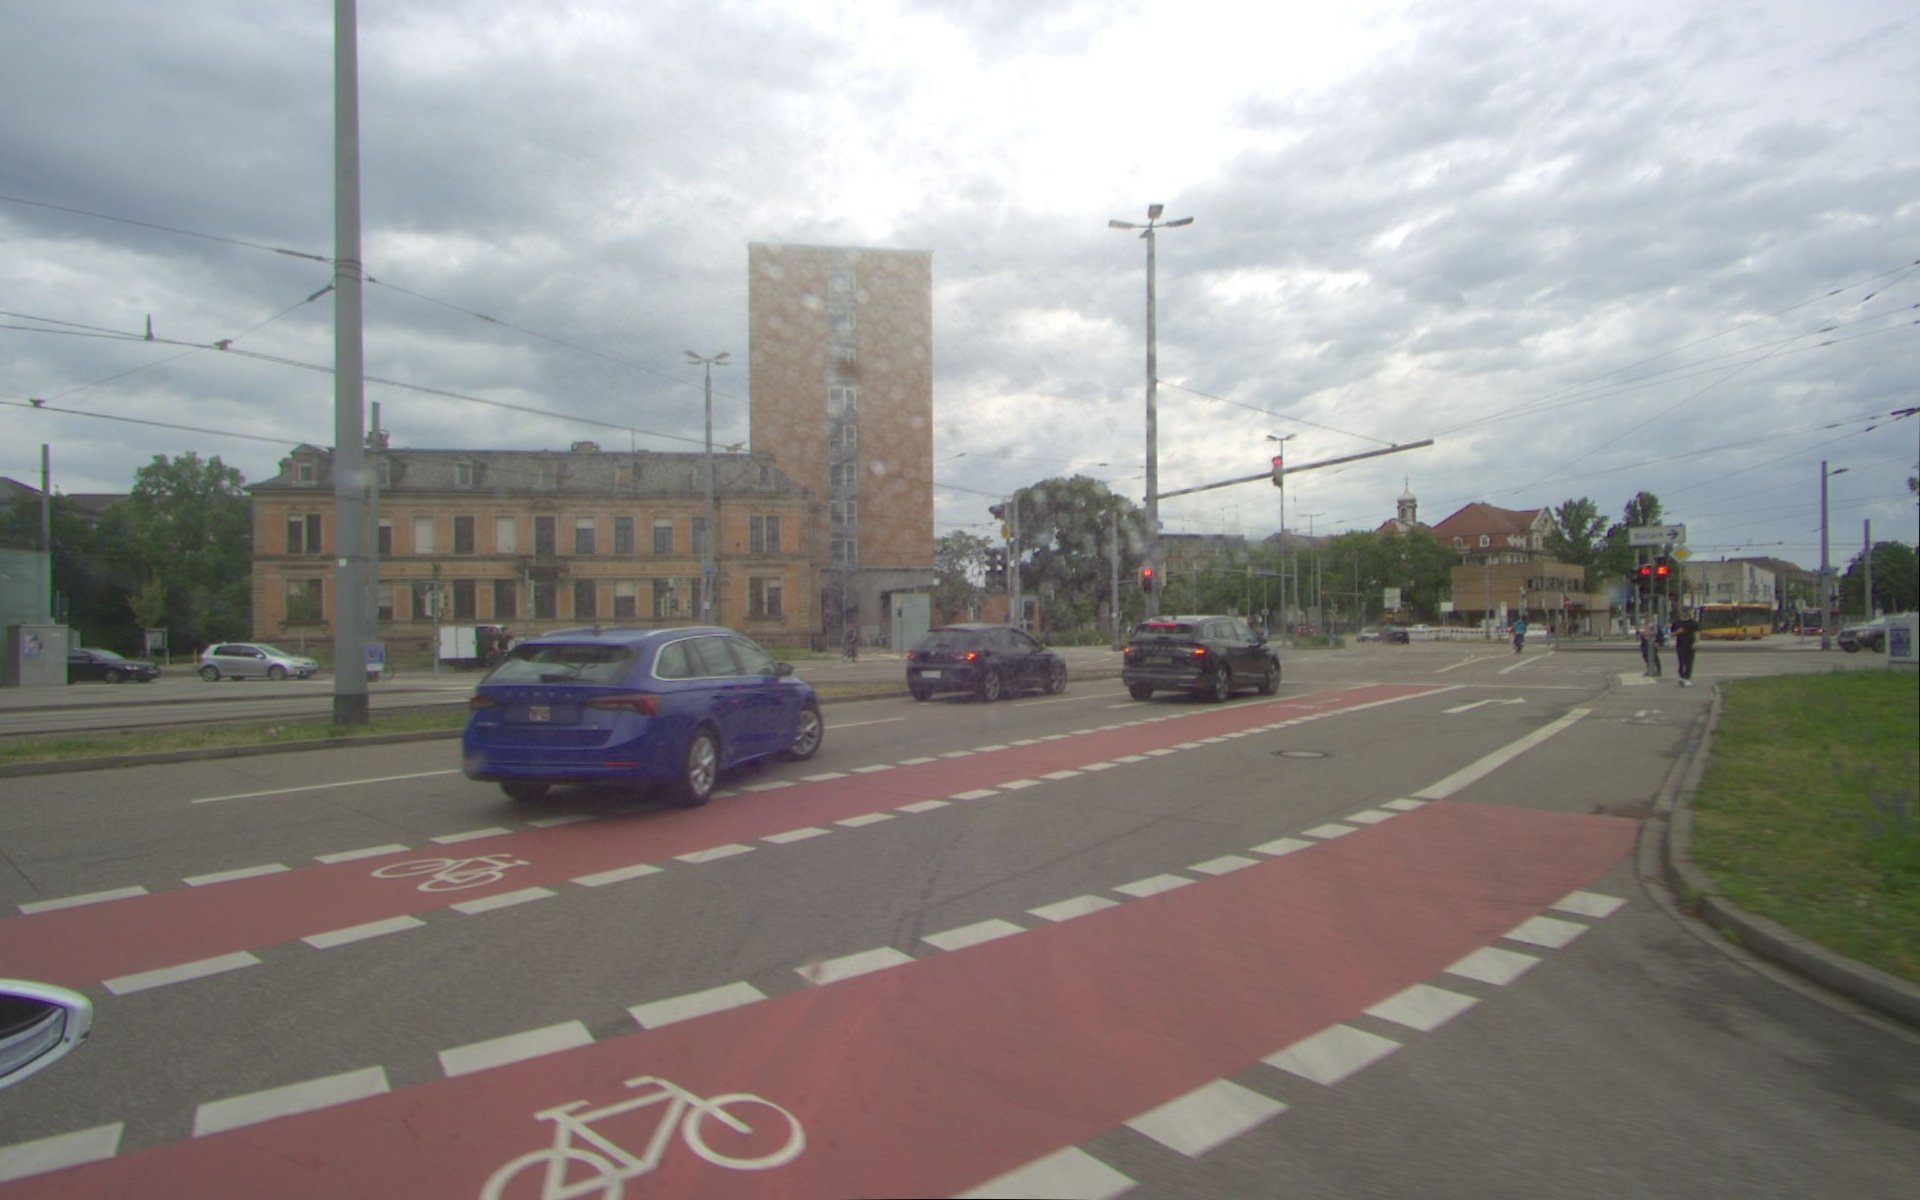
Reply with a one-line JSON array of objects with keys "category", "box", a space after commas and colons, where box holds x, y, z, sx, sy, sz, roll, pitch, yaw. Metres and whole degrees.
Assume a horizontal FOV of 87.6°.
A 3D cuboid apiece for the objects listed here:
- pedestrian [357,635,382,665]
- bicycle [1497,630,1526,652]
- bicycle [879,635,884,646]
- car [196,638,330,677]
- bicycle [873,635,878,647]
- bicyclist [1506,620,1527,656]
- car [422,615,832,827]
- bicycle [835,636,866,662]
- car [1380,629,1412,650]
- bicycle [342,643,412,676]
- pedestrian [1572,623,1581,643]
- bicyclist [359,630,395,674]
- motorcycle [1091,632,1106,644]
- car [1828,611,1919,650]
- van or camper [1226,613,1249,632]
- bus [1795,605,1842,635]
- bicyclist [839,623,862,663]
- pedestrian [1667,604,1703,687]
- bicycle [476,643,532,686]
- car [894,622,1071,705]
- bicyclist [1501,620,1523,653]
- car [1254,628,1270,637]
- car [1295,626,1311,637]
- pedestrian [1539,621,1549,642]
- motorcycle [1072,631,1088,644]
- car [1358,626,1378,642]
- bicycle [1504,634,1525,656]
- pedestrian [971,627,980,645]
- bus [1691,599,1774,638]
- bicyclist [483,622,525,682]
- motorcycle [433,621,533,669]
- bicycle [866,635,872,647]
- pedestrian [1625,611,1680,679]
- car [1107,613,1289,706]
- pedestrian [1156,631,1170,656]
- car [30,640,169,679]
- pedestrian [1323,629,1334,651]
[{"category": "pedestrian", "box": [-34.916, 2.939, 59.192, 1.107, 1.786, 0.757, 0, -1, -15]}, {"category": "bicycle", "box": [30.165, 2.224, 54.824, 0.878, 1.193, 2.299, 0, -1, 16]}, {"category": "bicycle", "box": [-7.442, 3.855, 95.252, 0.473, 1.062, 1.428, 0, -1, -5]}, {"category": "car", "box": [-27.658, 2.267, 39.837, 4.080, 1.472, 1.762, 0, -1, -2]}, {"category": "bicycle", "box": [-8.020, 3.876, 95.142, 0.500, 1.062, 1.428, 0, -1, -5]}, {"category": "bicyclist", "box": [29.020, 1.973, 52.241, 0.861, 1.875, 1.043, -2, -2, 31]}, {"category": "car", "box": [-2.739, 0.949, 9.488, 1.751, 1.507, 4.465, -1, -2, 10]}, {"category": "bicycle", "box": [-5.439, 2.420, 49.871, 0.811, 1.223, 2.233, -2, -2, 12]}, {"category": "car", "box": [36.942, 3.382, 84.899, 1.964, 1.705, 3.998, -1, -3, 16]}, {"category": "bicycle", "box": [-22.218, 2.262, 38.166, 2.155, 1.223, 0.858, -1, -2, -2]}, {"category": "pedestrian", "box": [62.347, 3.334, 101.225, 0.616, 1.943, 0.705, -1, -1, 41]}, {"category": "bicyclist", "box": [-22.216, 1.962, 38.177, 0.900, 1.643, 0.855, -1, -2, -2]}, {"category": "motorcycle", "box": [13.527, 3.732, 97.794, 1.725, 1.125, 0.507, 1, -1, -40]}, {"category": "car", "box": [40.439, 1.324, 43.204, 4.149, 1.661, 1.803, -1, -1, 11]}, {"category": "van or camper", "box": [46.545, 3.752, 168.028, 2.349, 3.164, 5.505, 0, -1, 1]}, {"category": "bus", "box": [98.149, 2.273, 114.429, 10.878, 3.325, 2.639, 1, -2, -42]}, {"category": "bicyclist", "box": [-5.458, 2.125, 49.809, 0.816, 1.916, 1.048, -2, -1, 11]}, {"category": "pedestrian", "box": [16.664, 1.043, 23.008, 0.531, 1.867, 0.978, -1, -1, 42]}, {"category": "bicycle", "box": [-14.325, 2.029, 31.421, 1.977, 1.258, 0.809, -4, -2, 40]}, {"category": "car", "box": [0.532, 1.168, 19.629, 1.687, 1.467, 3.790, -1, -2, 34]}, {"category": "bicyclist", "box": [30.086, 1.990, 54.553, 0.869, 1.754, 0.893, 0, -1, 16]}, {"category": "car", "box": [49.149, 5.320, 162.859, 1.747, 1.483, 4.001, 0, -1, 5]}, {"category": "car", "box": [43.925, 4.033, 128.309, 1.749, 1.483, 3.996, -1, -1, 16]}, {"category": "pedestrian", "box": [56.836, 3.067, 97.417, 0.617, 1.943, 0.703, 0, -1, -45]}, {"category": "motorcycle", "box": [11.628, 3.608, 96.859, 1.444, 1.284, 0.511, 0, -1, -8]}, {"category": "car", "box": [40.453, 3.345, 99.353, 1.751, 1.483, 3.992, 0, -1, 21]}, {"category": "bicycle", "box": [29.047, 2.358, 52.448, 0.856, 1.119, 2.290, -1, -1, 33]}, {"category": "pedestrian", "box": [1.159, 2.658, 73.659, 0.563, 1.353, 0.498, 0, -1, -13]}, {"category": "bus", "box": [65.879, 1.625, 85.274, 11.403, 3.163, 2.948, 1, -2, -38]}, {"category": "bicyclist", "box": [-14.313, 1.614, 31.409, 1.017, 1.822, 0.809, -1, 0, 40]}, {"category": "motorcycle", "box": [-20.984, 1.963, 44.136, 3.616, 2.039, 1.696, 0, -1, -4]}, {"category": "bicycle", "box": [-8.672, 3.876, 95.083, 0.561, 1.120, 1.428, 0, -1, -5]}, {"category": "pedestrian", "box": [19.980, 1.295, 28.914, 1.083, 1.931, 0.736, 0, -1, -5]}, {"category": "car", "box": [4.787, 1.096, 19.698, 1.761, 1.617, 4.477, -1, -2, 38]}, {"category": "pedestrian", "box": [16.070, 3.459, 79.210, 1.011, 1.959, 0.700, -1, -1, 13]}, {"category": "car", "box": [-33.633, 2.315, 39.207, 4.062, 1.467, 1.697, 0, -1, 2]}, {"category": "pedestrian", "box": [26.028, 2.837, 70.681, 0.718, 1.561, 0.416, -1, -1, 26]}]
